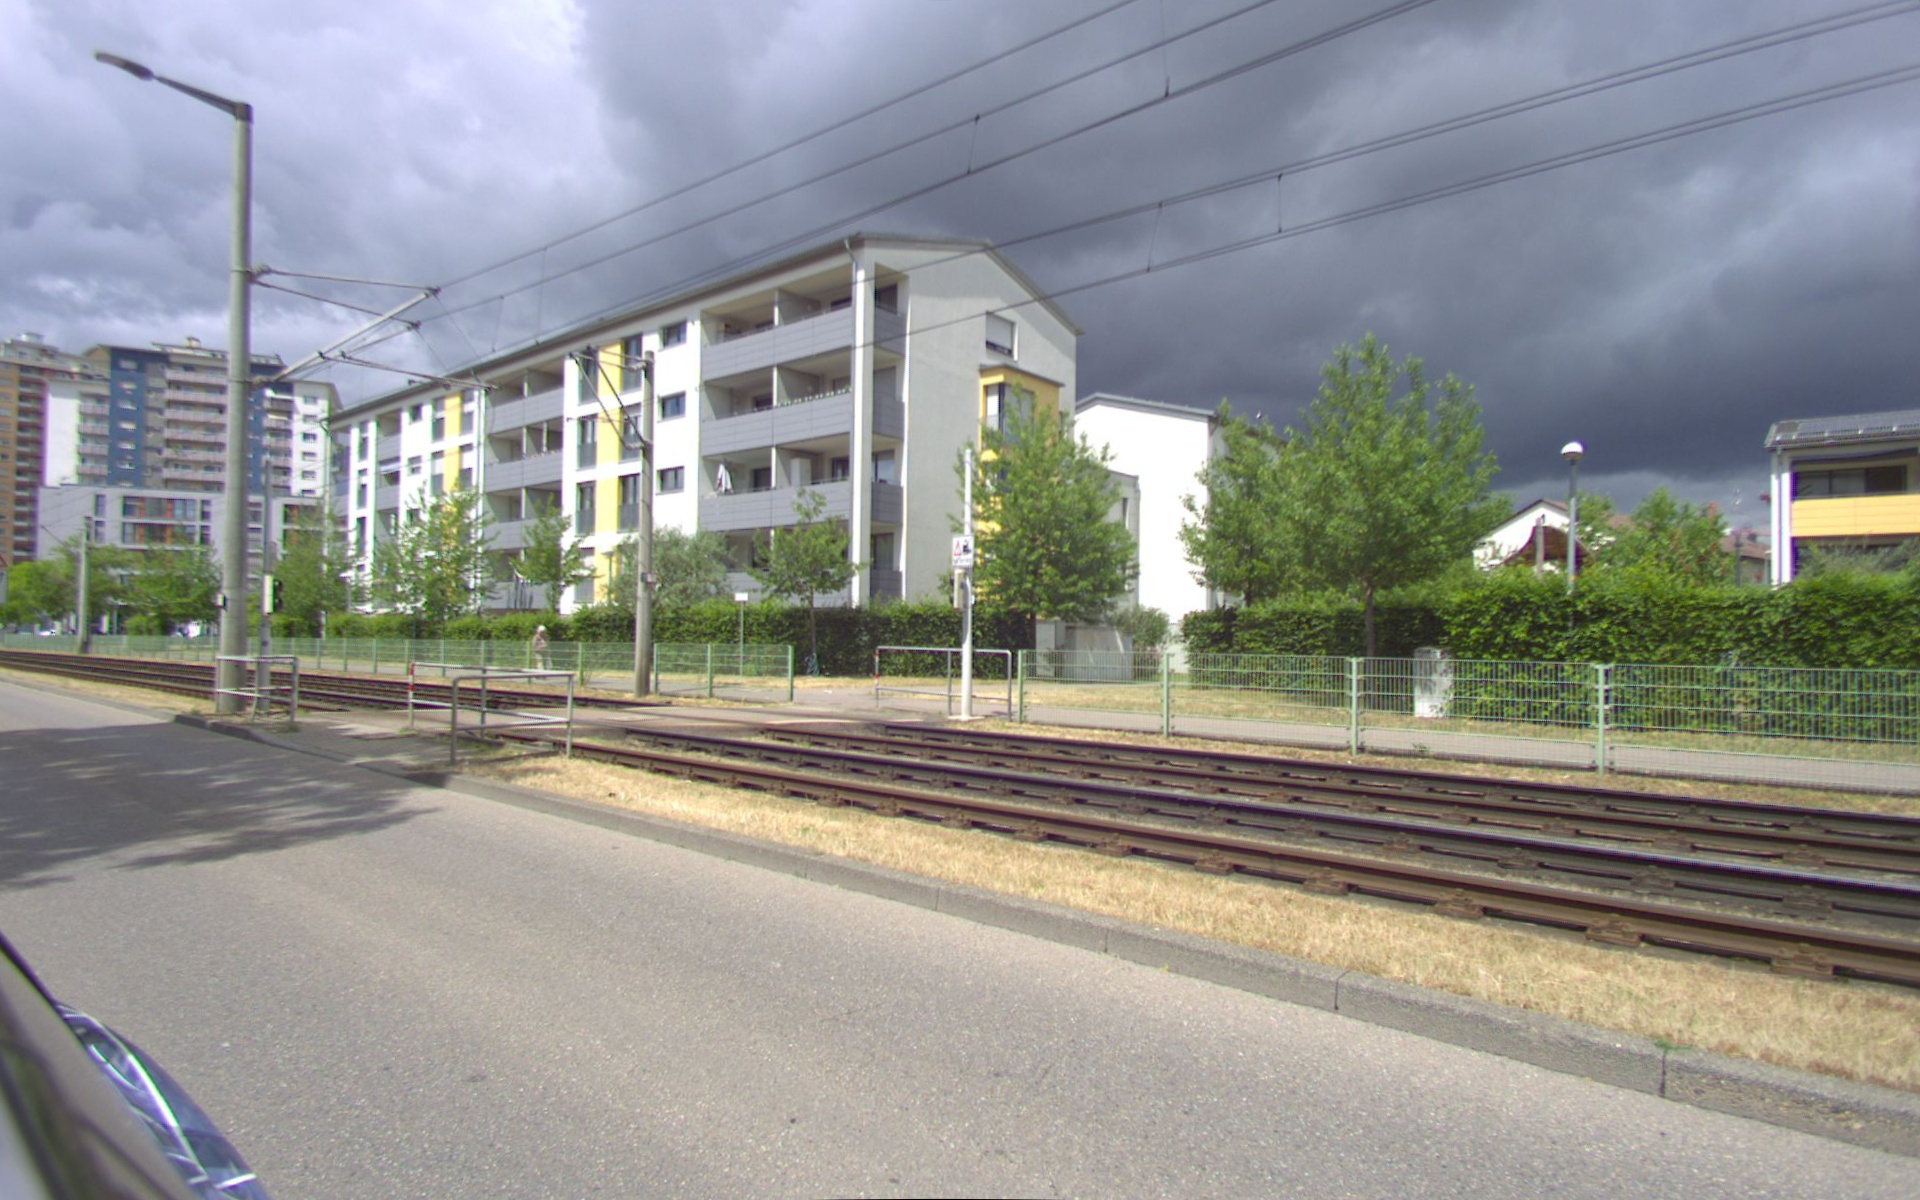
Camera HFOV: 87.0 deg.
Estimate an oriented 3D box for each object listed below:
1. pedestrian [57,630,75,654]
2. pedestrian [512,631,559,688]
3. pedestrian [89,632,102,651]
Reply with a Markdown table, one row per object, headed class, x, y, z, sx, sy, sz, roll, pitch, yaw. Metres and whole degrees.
| class | x | y | z | sx | sy | sz | roll | pitch | yaw |
| --- | --- | --- | --- | --- | --- | --- | --- | --- | --- |
| pedestrian | -61.027 | 2.835 | 69.078 | 0.937 | 1.625 | 0.747 | -2 | -2 | 39 |
| pedestrian | -11.435 | 1.584 | 27.268 | 0.994 | 1.494 | 0.788 | -2 | -2 | 39 |
| pedestrian | -74.445 | 3.558 | 87.139 | 0.537 | 1.666 | 0.740 | -2 | -2 | 39 |
